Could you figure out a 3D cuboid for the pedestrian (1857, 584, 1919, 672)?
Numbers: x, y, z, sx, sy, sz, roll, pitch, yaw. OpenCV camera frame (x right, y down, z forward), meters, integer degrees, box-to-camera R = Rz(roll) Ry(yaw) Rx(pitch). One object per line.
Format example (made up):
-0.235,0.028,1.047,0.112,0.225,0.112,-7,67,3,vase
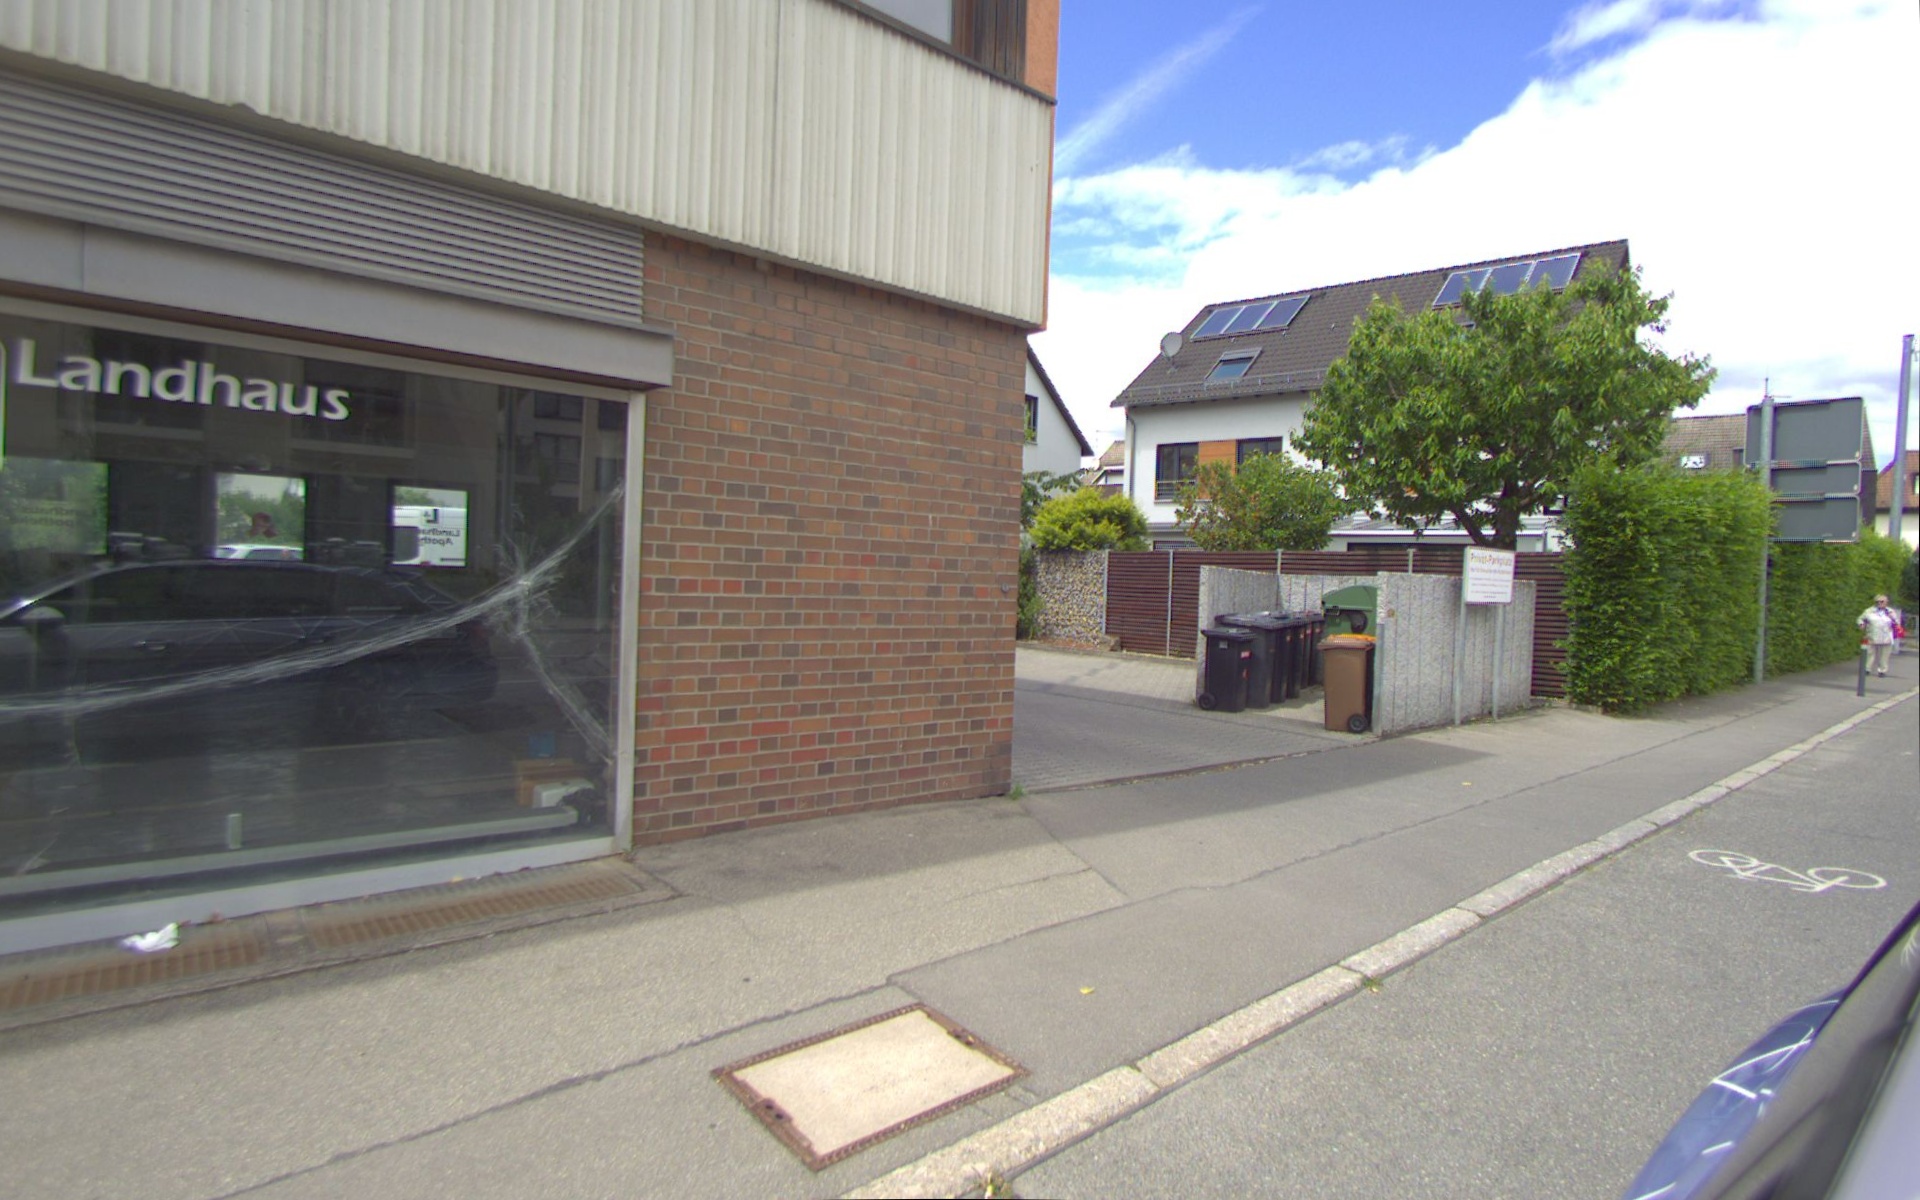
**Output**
18.133,0.536,19.723,0.641,1.637,0.801,1,3,-39,pedestrian

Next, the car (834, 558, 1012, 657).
-0.556,0.080,18.348,1.768,1.555,3.767,2,2,23,car

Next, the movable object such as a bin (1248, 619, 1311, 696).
4.026,0.713,12.730,0.630,0.903,0.534,1,1,33,movable object such as a bin

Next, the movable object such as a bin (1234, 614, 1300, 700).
3.724,0.680,12.276,0.624,0.979,0.534,1,1,33,movable object such as a bin

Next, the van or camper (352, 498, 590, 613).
-12.056,-1.067,25.472,2.034,2.574,5.474,2,1,21,van or camper

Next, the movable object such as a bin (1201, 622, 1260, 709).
3.053,0.724,11.400,0.490,0.924,0.534,1,1,33,movable object such as a bin

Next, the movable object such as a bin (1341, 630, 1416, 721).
4.488,0.789,10.857,0.532,0.903,0.668,2,1,43,movable object such as a bin

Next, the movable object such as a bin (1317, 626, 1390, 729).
4.000,0.764,10.279,0.530,0.963,0.678,1,1,36,movable object such as a bin

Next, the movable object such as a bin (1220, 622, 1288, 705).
3.431,0.721,11.813,0.630,0.903,0.534,1,1,33,movable object such as a bin
